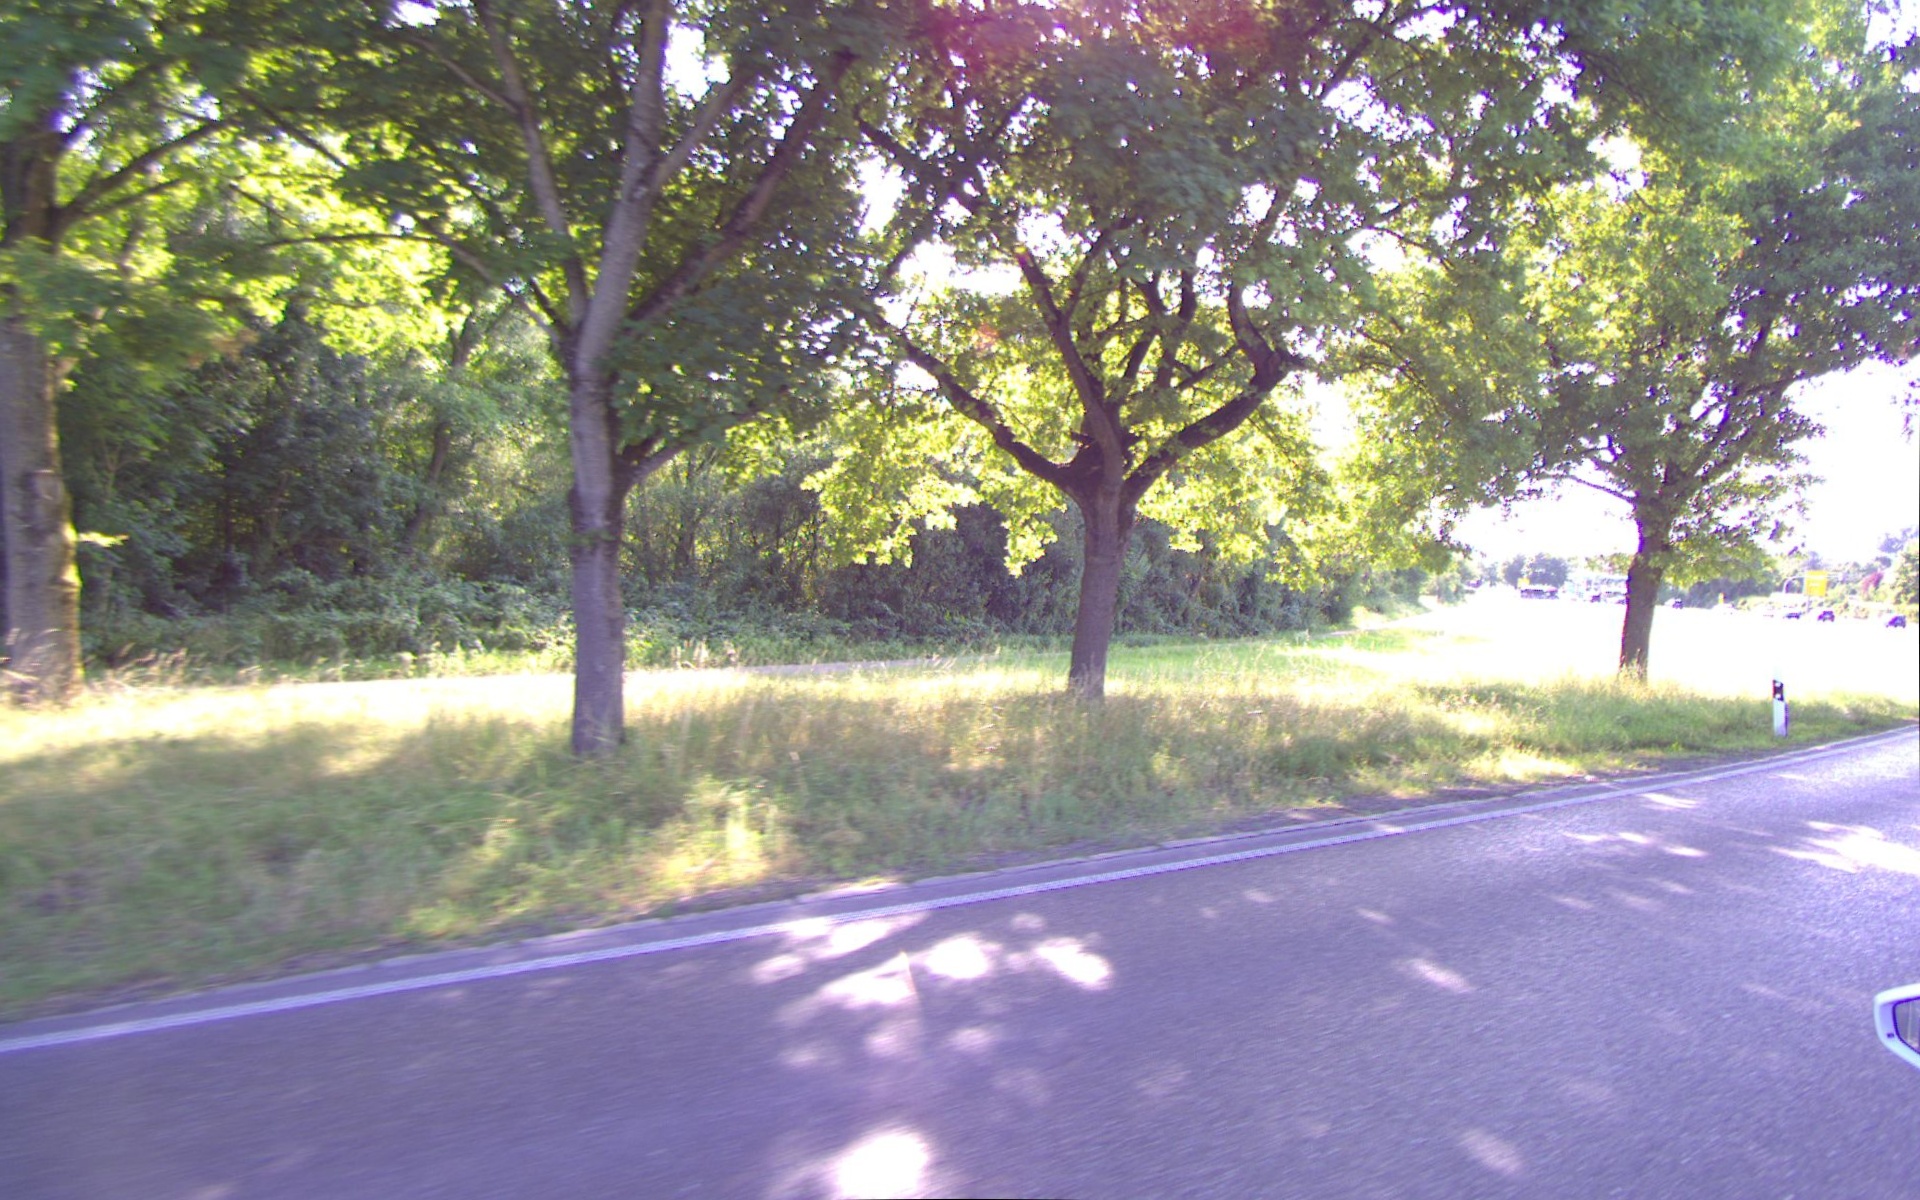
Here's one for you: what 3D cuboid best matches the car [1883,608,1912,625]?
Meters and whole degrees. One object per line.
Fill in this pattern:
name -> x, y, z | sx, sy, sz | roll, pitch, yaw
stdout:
car -> 100.617, 1.772, 107.799 | 1.498, 1.678, 3.863 | 2, 0, 32

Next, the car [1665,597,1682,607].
car -> 129.953, 0.344, 182.927 | 1.699, 1.678, 3.871 | 2, 0, 23

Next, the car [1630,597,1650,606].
car -> 129.952, 0.195, 192.037 | 2.050, 1.621, 4.001 | 2, 1, 17

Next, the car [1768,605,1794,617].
car -> 114.193, 1.597, 139.744 | 1.651, 1.579, 3.872 | 2, 0, 21

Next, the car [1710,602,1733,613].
car -> 122.322, 1.288, 161.408 | 1.944, 1.678, 3.872 | 2, 0, 21

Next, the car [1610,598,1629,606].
car -> 132.337, 0.401, 201.668 | 2.050, 1.620, 4.001 | 1, 0, 17

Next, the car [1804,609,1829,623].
car -> 110.404, 2.094, 129.551 | 1.496, 1.678, 3.869 | 2, 0, 26

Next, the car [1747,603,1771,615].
car -> 117.661, 1.336, 147.921 | 1.651, 1.579, 3.872 | 2, 0, 21
